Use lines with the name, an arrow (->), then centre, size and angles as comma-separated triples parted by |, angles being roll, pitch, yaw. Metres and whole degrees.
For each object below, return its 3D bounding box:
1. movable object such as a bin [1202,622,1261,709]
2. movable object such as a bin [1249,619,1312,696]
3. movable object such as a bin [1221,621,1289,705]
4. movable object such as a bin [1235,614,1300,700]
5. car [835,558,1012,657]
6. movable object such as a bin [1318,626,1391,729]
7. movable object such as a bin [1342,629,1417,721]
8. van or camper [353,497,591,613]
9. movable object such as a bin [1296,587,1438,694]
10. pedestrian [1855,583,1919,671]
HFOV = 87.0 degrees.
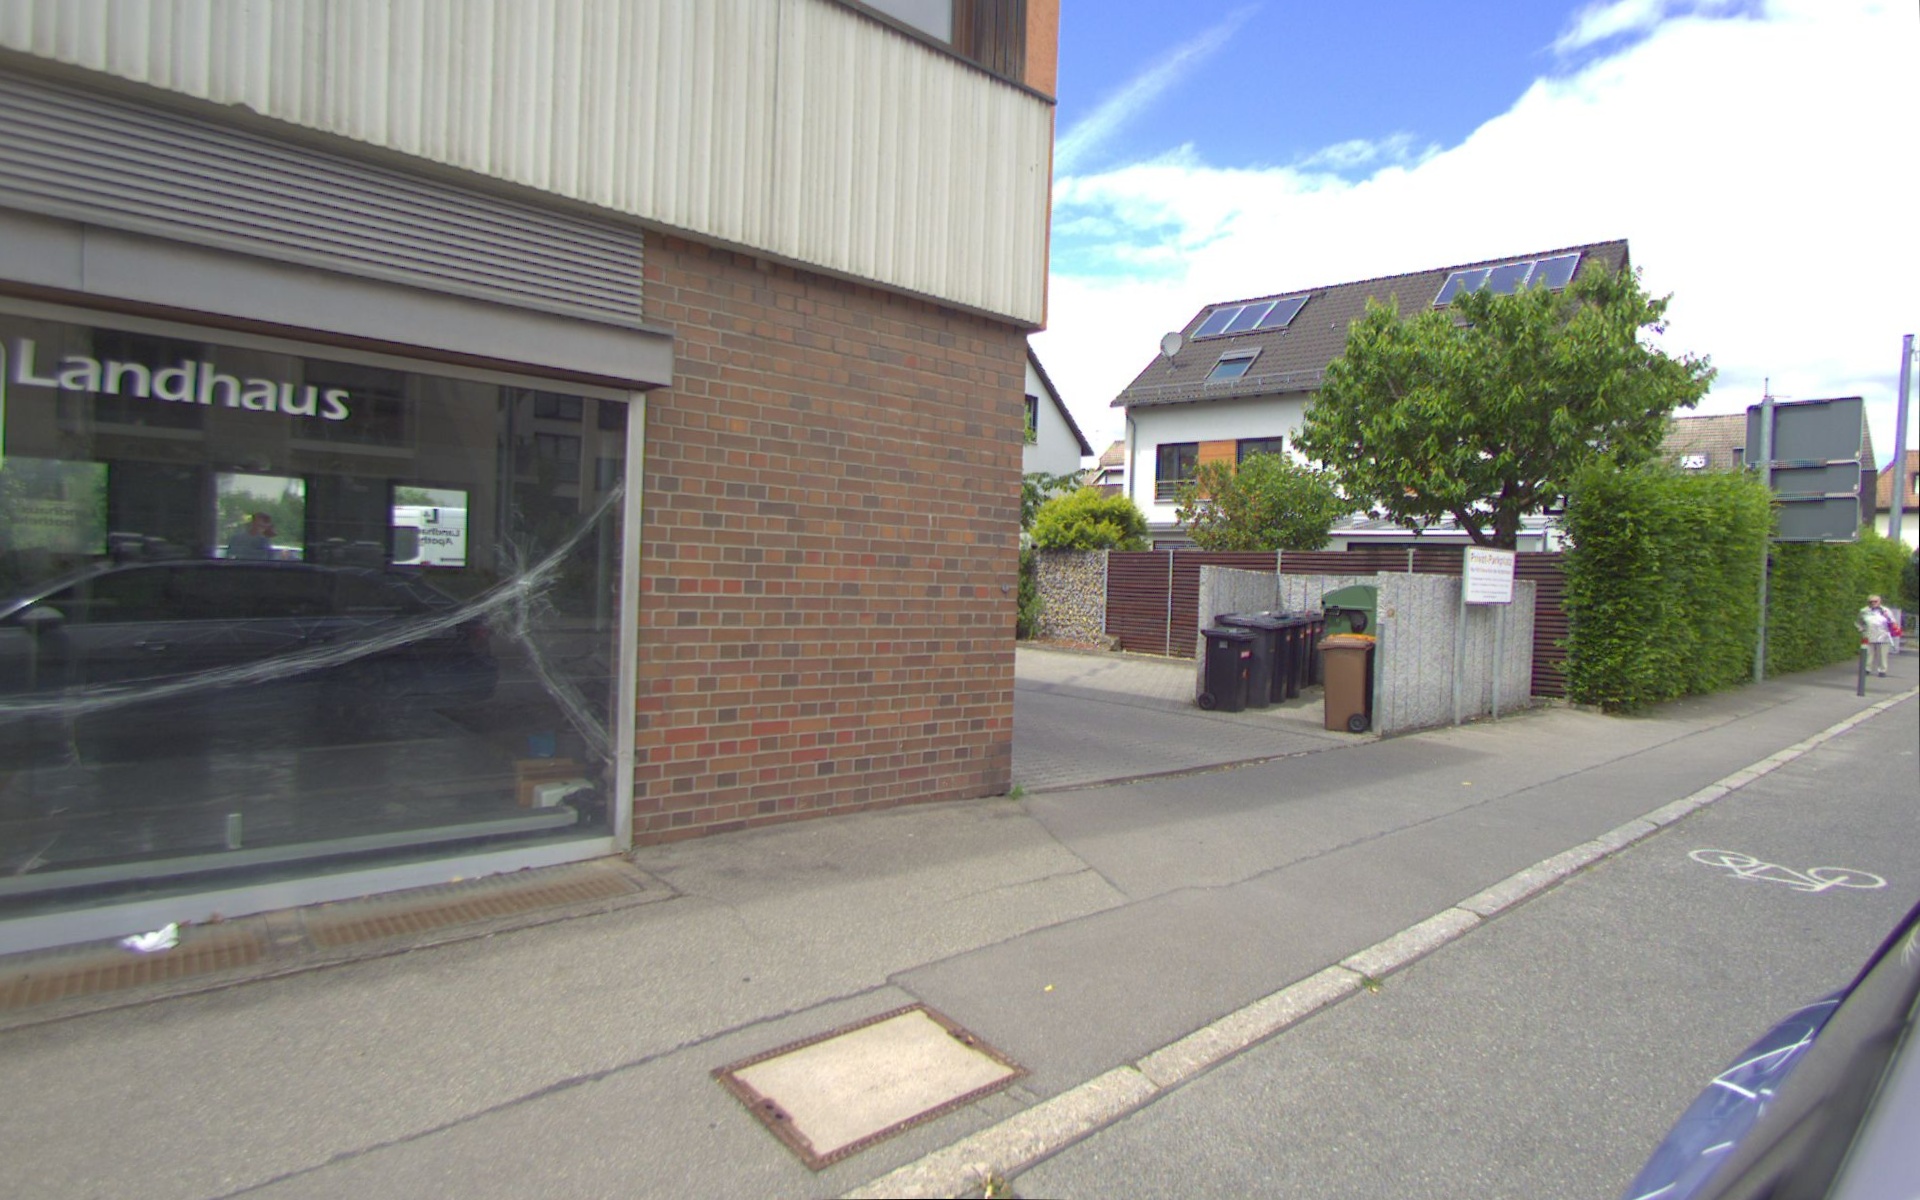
movable object such as a bin -> 3.066, 0.722, 11.404 | 0.490, 0.924, 0.534 | 1, 1, 33
movable object such as a bin -> 4.038, 0.710, 12.734 | 0.630, 0.903, 0.534 | 1, 1, 33
movable object such as a bin -> 3.444, 0.719, 11.817 | 0.630, 0.903, 0.534 | 1, 1, 33
movable object such as a bin -> 3.737, 0.678, 12.280 | 0.624, 0.979, 0.534 | 1, 1, 33
car -> -0.543, 0.075, 18.353 | 1.768, 1.555, 3.767 | 2, 2, 23
movable object such as a bin -> 4.013, 0.762, 10.283 | 0.530, 0.963, 0.678 | 1, 1, 36
movable object such as a bin -> 4.501, 0.787, 10.861 | 0.532, 0.903, 0.668 | 2, 1, 43
van or camper -> -12.042, -1.075, 25.478 | 2.034, 2.574, 5.474 | 2, 2, 21
movable object such as a bin -> 5.314, 0.487, 13.198 | 1.509, 1.278, 1.190 | 0, 1, -43
pedestrian -> 18.130, 0.504, 19.772 | 0.641, 1.637, 0.801 | 1, 3, -39
